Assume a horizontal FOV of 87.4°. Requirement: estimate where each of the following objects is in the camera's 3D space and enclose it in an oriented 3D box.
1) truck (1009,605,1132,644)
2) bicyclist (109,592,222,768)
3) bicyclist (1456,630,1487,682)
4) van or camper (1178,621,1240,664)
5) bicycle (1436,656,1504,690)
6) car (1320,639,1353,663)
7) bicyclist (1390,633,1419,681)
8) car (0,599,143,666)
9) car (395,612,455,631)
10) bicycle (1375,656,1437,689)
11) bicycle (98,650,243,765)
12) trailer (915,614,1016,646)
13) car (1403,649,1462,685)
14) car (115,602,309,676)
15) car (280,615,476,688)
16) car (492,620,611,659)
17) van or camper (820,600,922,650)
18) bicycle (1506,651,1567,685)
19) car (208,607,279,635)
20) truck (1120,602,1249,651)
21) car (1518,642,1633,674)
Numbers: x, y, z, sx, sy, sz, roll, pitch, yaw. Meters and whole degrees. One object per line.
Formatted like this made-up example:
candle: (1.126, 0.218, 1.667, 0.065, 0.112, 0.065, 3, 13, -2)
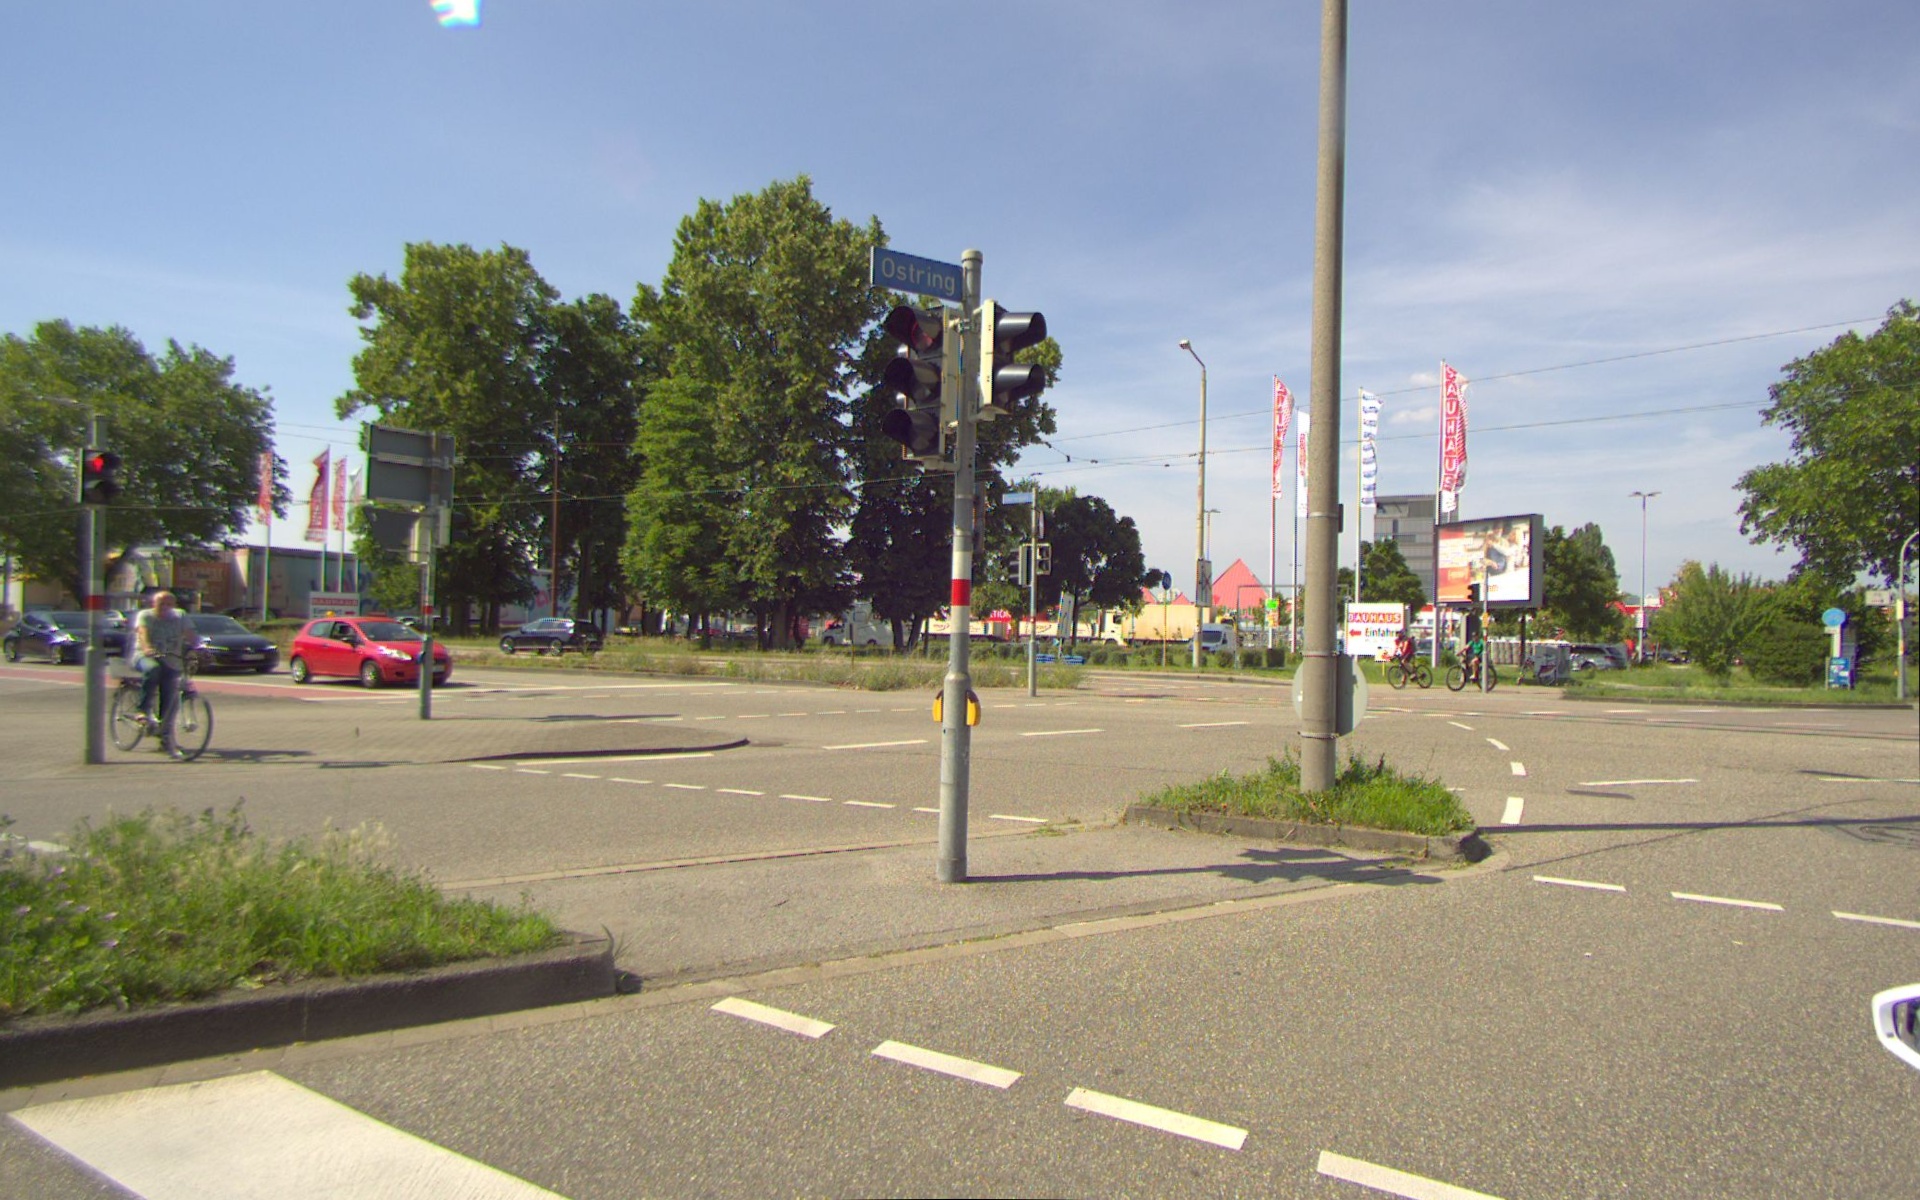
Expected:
truck: (8.901, 1.960, 81.050, 9.432, 2.930, 2.925, 0, -1, 25)
bicyclist: (-8.576, 0.833, 10.848, 0.754, 1.812, 0.704, 0, -1, 32)
bicyclist: (15.051, 1.643, 29.566, 0.599, 1.511, 0.528, 2, -1, -14)
van or camper: (13.949, 2.372, 56.054, 2.155, 2.239, 5.513, 1, -2, 27)
bicycle: (14.993, 2.158, 29.548, 1.962, 0.950, 0.416, 2, -1, -13)
car: (25.877, 3.475, 69.026, 1.787, 1.593, 4.277, 1, -2, 25)
bicyclist: (13.326, 1.708, 30.141, 0.598, 1.432, 0.529, 1, -1, -6)
car: (-25.069, 0.879, 27.834, 3.921, 1.721, 2.000, 0, -2, 20)
car: (-46.843, 1.924, 88.047, 1.841, 1.585, 4.377, 0, -2, 28)
bicycle: (13.355, 2.176, 30.093, 1.718, 0.950, 0.434, 2, -1, -7)
bicycle: (-8.562, 1.116, 10.860, 2.128, 1.078, 0.524, 0, -1, 32)
trailer: (0.440, 2.488, 85.291, 8.058, 2.523, 2.923, 0, -2, 27)
car: (24.046, 3.373, 51.323, 2.157, 1.593, 4.578, 1, -2, 18)
car: (-18.778, 0.950, 25.270, 3.920, 1.721, 2.001, 0, -2, 19)
car: (-12.879, 1.098, 22.227, 3.925, 1.468, 1.846, 0, -2, 25)
car: (-16.302, 1.559, 40.096, 4.137, 1.462, 1.791, 1, -1, 15)
van or camper: (-5.949, 1.657, 67.005, 6.208, 3.141, 2.709, 1, -1, 27)
bicycle: (18.975, 2.234, 33.071, 1.864, 1.051, 0.594, 2, -1, -15)
car: (-53.557, 1.584, 75.114, 1.972, 2.040, 3.978, 0, -2, 42)
truck: (16.528, 1.911, 74.047, 8.755, 3.355, 3.159, 0, -1, 24)
car: (31.324, 2.926, 51.192, 2.180, 1.432, 4.531, 2, -2, -36)
